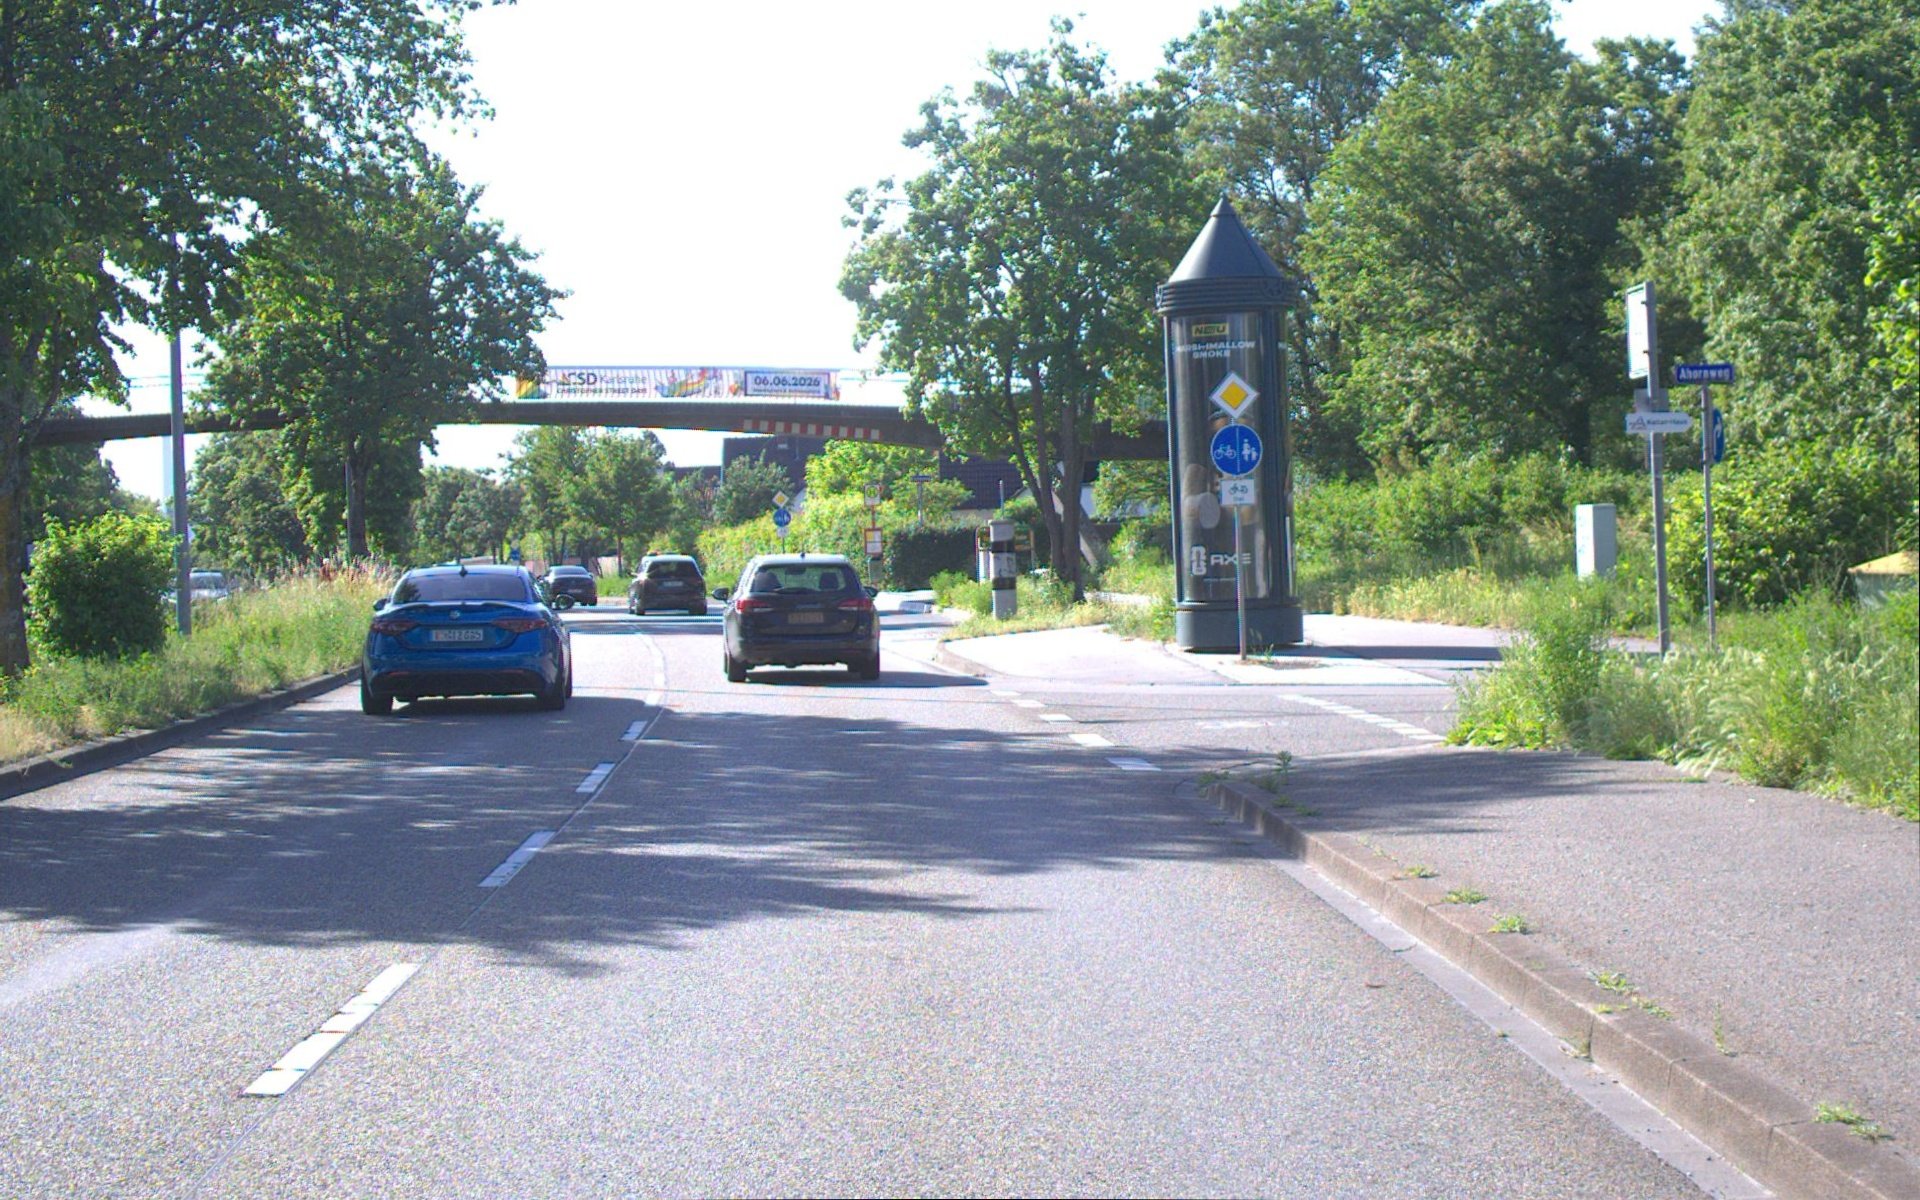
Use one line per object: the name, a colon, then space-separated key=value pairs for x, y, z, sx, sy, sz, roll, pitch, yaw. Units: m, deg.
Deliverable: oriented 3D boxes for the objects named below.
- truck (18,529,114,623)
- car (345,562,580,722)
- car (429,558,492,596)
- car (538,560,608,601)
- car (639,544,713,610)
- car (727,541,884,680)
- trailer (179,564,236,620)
truck: x=-25.912 y=-0.708 z=99.818 sx=2.172 sy=2.504 sz=5.743 roll=-4 pitch=1 yaw=-11
car: x=-4.821 y=0.362 z=33.788 sx=1.994 sy=1.400 sz=4.001 roll=-2 pitch=1 yaw=-5
car: x=-18.955 y=-0.870 z=130.437 sx=1.898 sy=1.351 sz=4.001 roll=-2 pitch=1 yaw=-15
car: x=-13.868 y=-0.711 z=122.929 sx=1.898 sy=1.351 sz=4.001 roll=-2 pitch=1 yaw=-15
car: x=-7.269 y=-0.598 z=87.737 sx=1.743 sy=1.592 sz=4.176 roll=-1 pitch=1 yaw=-6
car: x=-1.831 y=0.125 z=40.696 sx=1.760 sy=1.554 sz=4.000 roll=0 pitch=0 yaw=-3
trailer: x=-26.775 y=-0.298 z=122.394 sx=1.562 sy=1.903 sz=4.283 roll=-2 pitch=1 yaw=-8
